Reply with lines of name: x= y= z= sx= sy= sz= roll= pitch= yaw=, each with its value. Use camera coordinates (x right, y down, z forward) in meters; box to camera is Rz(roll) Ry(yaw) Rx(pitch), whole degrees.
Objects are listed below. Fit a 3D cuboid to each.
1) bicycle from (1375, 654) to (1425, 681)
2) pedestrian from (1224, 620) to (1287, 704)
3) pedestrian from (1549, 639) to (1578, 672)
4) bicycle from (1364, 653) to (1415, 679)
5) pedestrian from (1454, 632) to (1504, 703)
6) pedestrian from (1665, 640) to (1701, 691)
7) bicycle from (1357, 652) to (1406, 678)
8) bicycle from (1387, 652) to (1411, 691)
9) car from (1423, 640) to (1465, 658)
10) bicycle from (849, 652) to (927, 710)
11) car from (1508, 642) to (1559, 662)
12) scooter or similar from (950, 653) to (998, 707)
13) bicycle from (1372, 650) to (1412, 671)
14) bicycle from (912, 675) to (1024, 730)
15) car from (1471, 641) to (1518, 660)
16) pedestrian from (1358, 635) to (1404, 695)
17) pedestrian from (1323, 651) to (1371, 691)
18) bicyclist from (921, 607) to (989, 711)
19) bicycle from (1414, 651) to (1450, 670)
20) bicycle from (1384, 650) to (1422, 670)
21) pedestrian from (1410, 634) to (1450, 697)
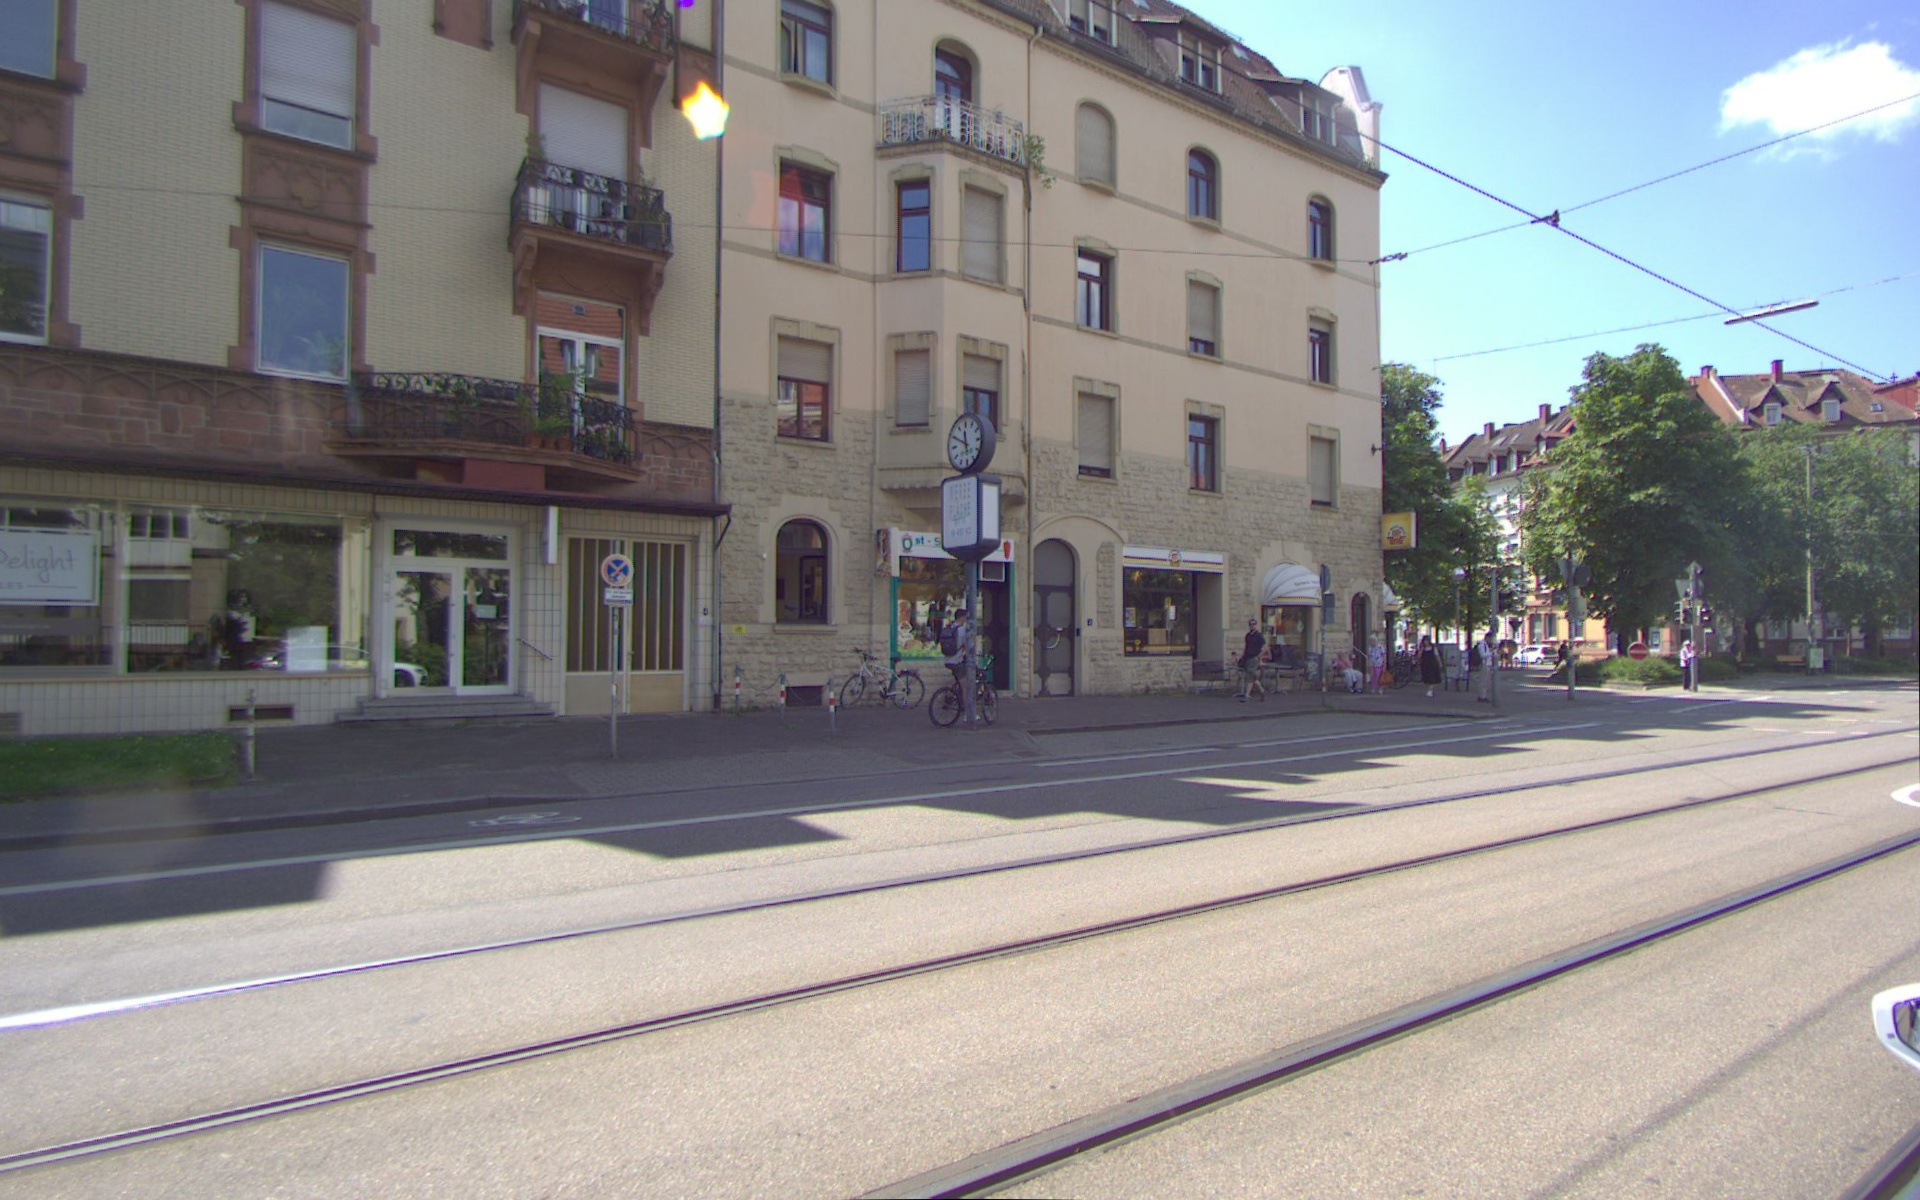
bicycle: x=17.103 y=2.608 z=39.026 sx=1.697 sy=1.046 sz=0.544 roll=0 pitch=-2 yaw=0
pedestrian: x=6.951 y=1.432 z=23.630 sx=1.153 sy=1.916 sz=0.895 roll=1 pitch=-1 yaw=-34
pedestrian: x=35.240 y=3.248 z=58.681 sx=1.002 sy=1.893 sz=0.999 roll=1 pitch=-2 yaw=-19
bicycle: x=17.274 y=2.649 z=40.411 sx=1.819 sy=1.046 sz=0.544 roll=0 pitch=-2 yaw=0
pedestrian: x=13.208 y=1.709 z=25.587 sx=0.767 sy=1.755 sz=0.855 roll=1 pitch=-1 yaw=-32
pedestrian: x=24.886 y=2.242 z=34.577 sx=0.825 sy=1.745 sz=0.918 roll=-1 pitch=-2 yaw=26
bicycle: x=17.507 y=2.692 z=41.780 sx=1.819 sy=1.046 sz=0.544 roll=-1 pitch=-2 yaw=17
bicycle: x=13.271 y=2.166 z=30.396 sx=0.534 sy=1.143 sz=1.683 roll=0 pitch=-4 yaw=19
car: x=42.336 y=4.267 z=87.851 sx=1.654 sy=1.491 sz=3.467 roll=0 pitch=-2 yaw=-8
bicycle: x=-1.401 y=1.577 z=19.515 sx=1.439 sy=1.079 sz=0.370 roll=2 pitch=-2 yaw=-10
car: x=44.341 y=4.027 z=77.754 sx=1.654 sy=1.491 sz=3.467 roll=0 pitch=-2 yaw=-8
scooter or similar: x=0.301 y=1.648 z=20.903 sx=0.682 sy=1.058 sz=1.210 roll=1 pitch=-1 yaw=16
bicycle: x=22.553 y=3.161 z=52.431 sx=1.825 sy=1.046 sz=0.543 roll=-2 pitch=-3 yaw=35
bicycle: x=0.149 y=1.710 z=16.926 sx=1.802 sy=0.828 sz=0.747 roll=2 pitch=-2 yaw=-35
car: x=43.388 y=4.108 z=81.568 sx=1.654 sy=1.491 sz=3.467 roll=0 pitch=-2 yaw=-8
pedestrian: x=11.660 y=1.783 z=27.812 sx=0.910 sy=1.615 sz=0.801 roll=2 pitch=-3 yaw=-35
pedestrian: x=10.773 y=1.969 z=27.974 sx=0.873 sy=1.091 sz=0.911 roll=1 pitch=-3 yaw=-32
bicyclist: x=-0.081 y=0.968 z=16.733 sx=0.823 sy=1.685 sz=0.751 roll=2 pitch=-1 yaw=-35
bicycle: x=26.893 y=3.419 z=57.234 sx=1.825 sy=1.046 sz=0.543 roll=-2 pitch=-3 yaw=35
bicycle: x=23.669 y=3.220 z=53.683 sx=1.825 sy=1.046 sz=0.543 roll=-2 pitch=-3 yaw=35
pedestrian: x=12.826 y=1.768 z=27.394 sx=0.848 sy=1.657 sz=1.023 roll=0 pitch=-2 yaw=34
